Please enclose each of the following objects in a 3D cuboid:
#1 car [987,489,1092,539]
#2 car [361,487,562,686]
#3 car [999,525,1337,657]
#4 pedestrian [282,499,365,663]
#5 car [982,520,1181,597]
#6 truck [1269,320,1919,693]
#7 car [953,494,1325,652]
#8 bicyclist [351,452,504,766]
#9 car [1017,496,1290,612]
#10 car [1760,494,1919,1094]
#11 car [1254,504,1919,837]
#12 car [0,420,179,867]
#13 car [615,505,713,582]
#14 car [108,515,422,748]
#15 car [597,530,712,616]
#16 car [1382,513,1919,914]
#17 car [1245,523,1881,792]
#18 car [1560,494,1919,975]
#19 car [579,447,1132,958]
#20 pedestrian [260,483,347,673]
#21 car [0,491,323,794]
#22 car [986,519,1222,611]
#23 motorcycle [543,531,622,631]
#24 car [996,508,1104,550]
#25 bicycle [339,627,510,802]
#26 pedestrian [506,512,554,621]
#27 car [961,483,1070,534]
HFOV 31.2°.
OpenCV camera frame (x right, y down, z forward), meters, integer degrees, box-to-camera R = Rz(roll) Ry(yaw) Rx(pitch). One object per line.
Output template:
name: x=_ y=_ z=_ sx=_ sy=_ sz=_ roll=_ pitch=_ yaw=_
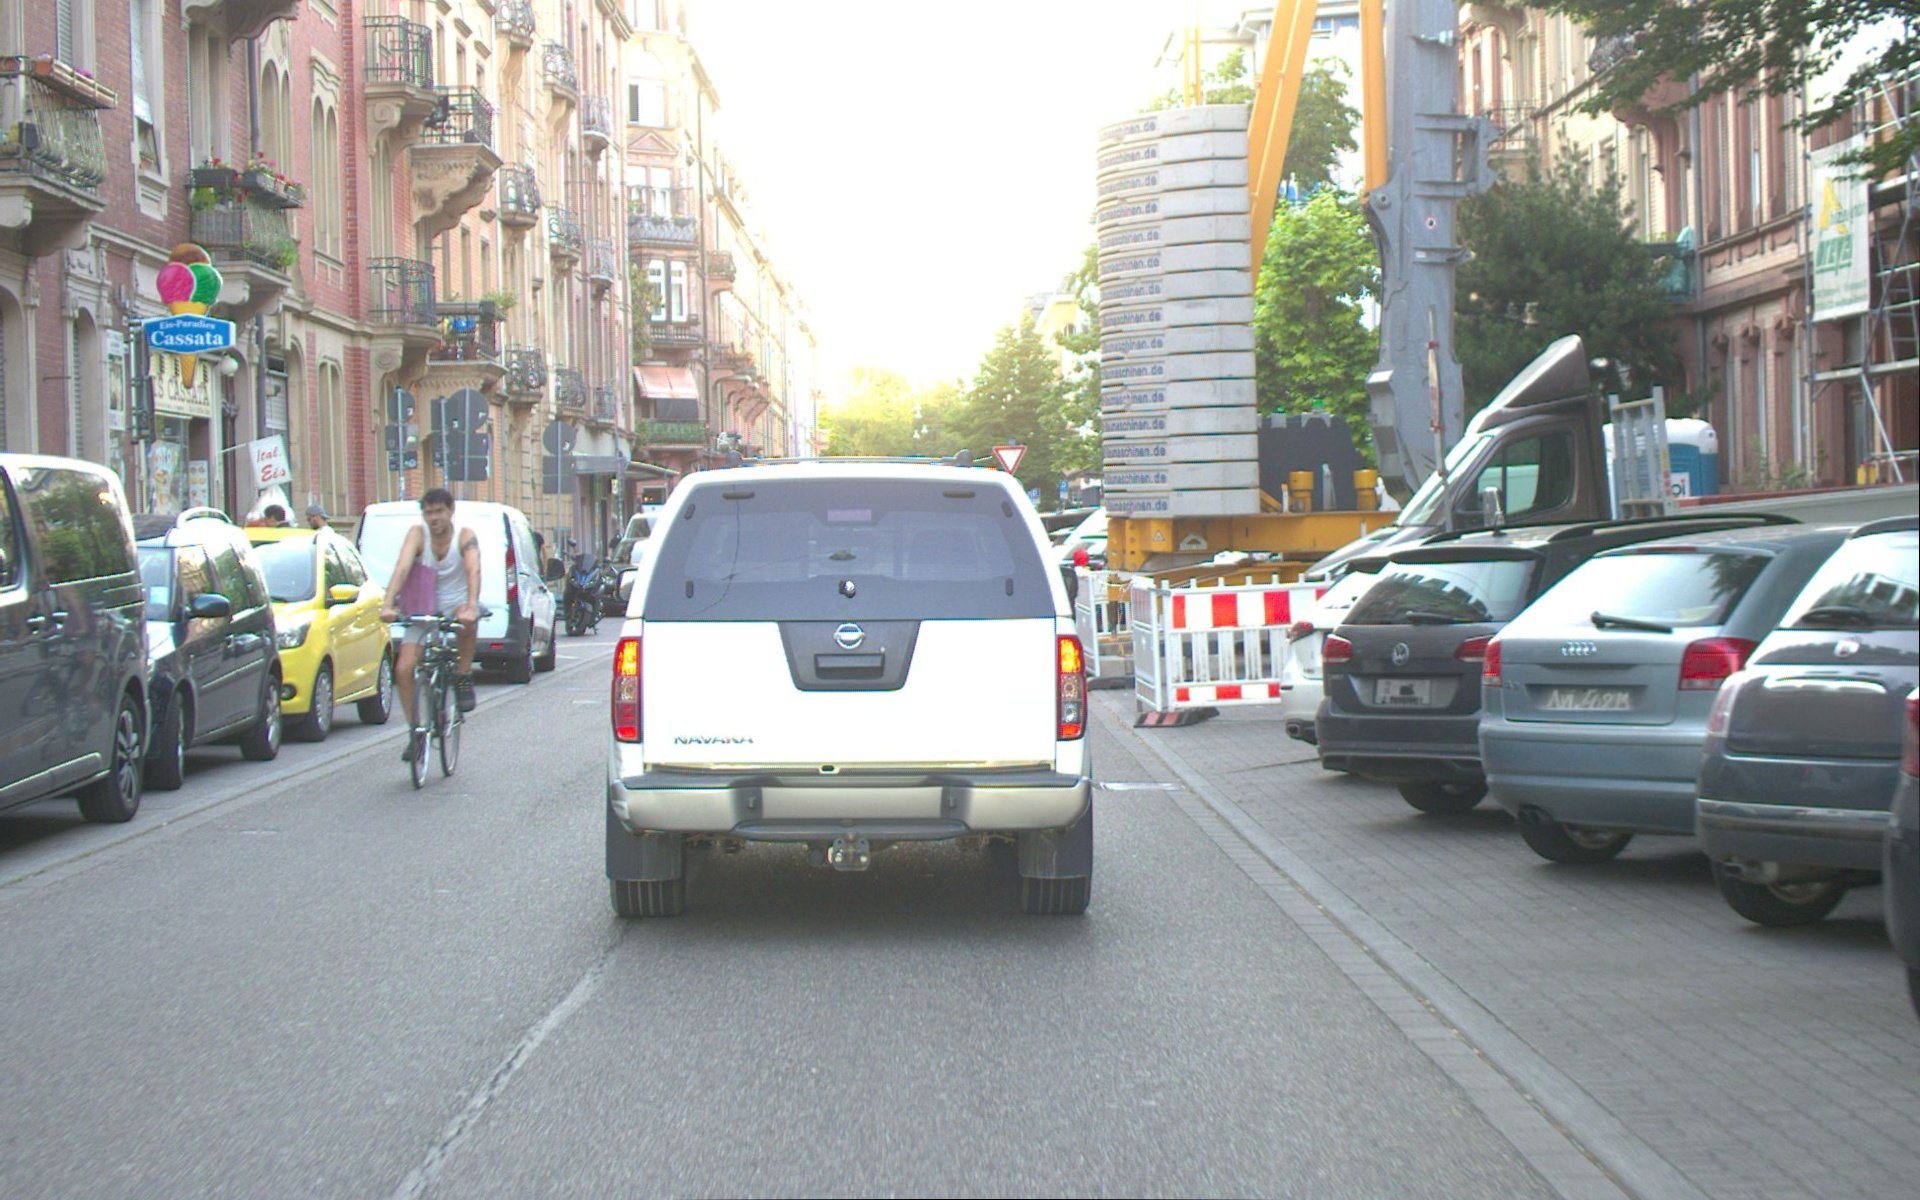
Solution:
car: x=3.497 y=-3.770 z=151.107 sx=4.588 sy=2.170 sz=1.819 roll=0 pitch=1 yaw=2
car: x=-5.074 y=-0.175 z=35.354 sx=1.559 sy=1.914 sz=3.857 roll=1 pitch=1 yaw=-1
car: x=2.620 y=-0.131 z=43.717 sx=4.195 sy=1.616 sz=1.819 roll=0 pitch=1 yaw=2
pedestrian: x=-7.304 y=-0.225 z=39.481 sx=0.617 sy=1.863 sz=0.739 roll=0 pitch=1 yaw=22
car: x=2.600 y=-0.893 z=73.556 sx=4.195 sy=1.616 sz=1.819 roll=0 pitch=1 yaw=2
truck: x=5.835 y=-0.721 z=28.668 sx=6.320 sy=2.966 sz=2.264 roll=0 pitch=-2 yaw=1
car: x=2.101 y=-0.319 z=39.851 sx=4.196 sy=1.774 sz=1.819 roll=0 pitch=1 yaw=5
bicyclist: x=-3.191 y=0.044 z=20.681 sx=0.800 sy=1.843 sz=0.944 roll=0 pitch=1 yaw=-3
car: x=3.020 y=-0.726 z=53.889 sx=4.195 sy=1.774 sz=1.819 roll=0 pitch=1 yaw=2
car: x=4.003 y=0.403 z=9.040 sx=3.396 sy=1.469 sz=1.775 roll=-4 pitch=3 yaw=-31
car: x=3.470 y=0.278 z=17.631 sx=3.882 sy=1.525 sz=1.637 roll=-1 pitch=2 yaw=-40
car: x=-5.083 y=0.170 z=15.704 sx=1.905 sy=1.919 sz=4.947 roll=0 pitch=1 yaw=0
car: x=-6.011 y=-1.158 z=70.131 sx=1.710 sy=1.525 sz=4.000 roll=0 pitch=1 yaw=-1
car: x=-5.141 y=0.179 z=25.862 sx=1.499 sy=1.588 sz=3.856 roll=-1 pitch=1 yaw=1
car: x=-5.665 y=-0.529 z=64.040 sx=1.791 sy=1.525 sz=4.000 roll=0 pitch=1 yaw=0
car: x=3.877 y=0.380 z=14.933 sx=3.825 sy=1.432 sz=1.762 roll=-3 pitch=2 yaw=-35
car: x=3.617 y=0.282 z=20.488 sx=3.548 sy=1.459 sz=1.611 roll=-1 pitch=1 yaw=-31
car: x=4.319 y=0.344 z=12.577 sx=3.824 sy=1.525 sz=1.763 roll=-3 pitch=1 yaw=-26
car: x=-0.404 y=0.313 z=14.424 sx=1.933 sy=1.788 sz=4.622 roll=0 pitch=1 yaw=-1
pedestrian: x=-6.503 y=-0.227 z=34.073 sx=0.738 sy=1.863 sz=0.618 roll=0 pitch=1 yaw=-2
car: x=-5.275 y=0.201 z=21.063 sx=1.905 sy=1.657 sz=4.068 roll=-1 pitch=1 yaw=1
car: x=2.607 y=-0.649 z=62.303 sx=4.195 sy=1.616 sz=1.819 roll=0 pitch=1 yaw=2
motorcycle: x=-5.496 y=-0.297 z=50.137 sx=0.837 sy=1.411 sz=2.549 roll=0 pitch=1 yaw=1
car: x=3.535 y=-2.795 z=134.767 sx=4.195 sy=1.616 sz=1.819 roll=0 pitch=1 yaw=2
bicycle: x=-3.205 y=0.666 z=20.735 sx=0.800 sy=0.944 sz=2.005 roll=0 pitch=1 yaw=-3
pedestrian: x=-8.035 y=-0.631 z=64.310 sx=0.788 sy=2.007 sz=0.934 roll=0 pitch=1 yaw=-1
car: x=2.394 y=-3.911 z=146.946 sx=4.588 sy=2.170 sz=1.819 roll=0 pitch=1 yaw=2
